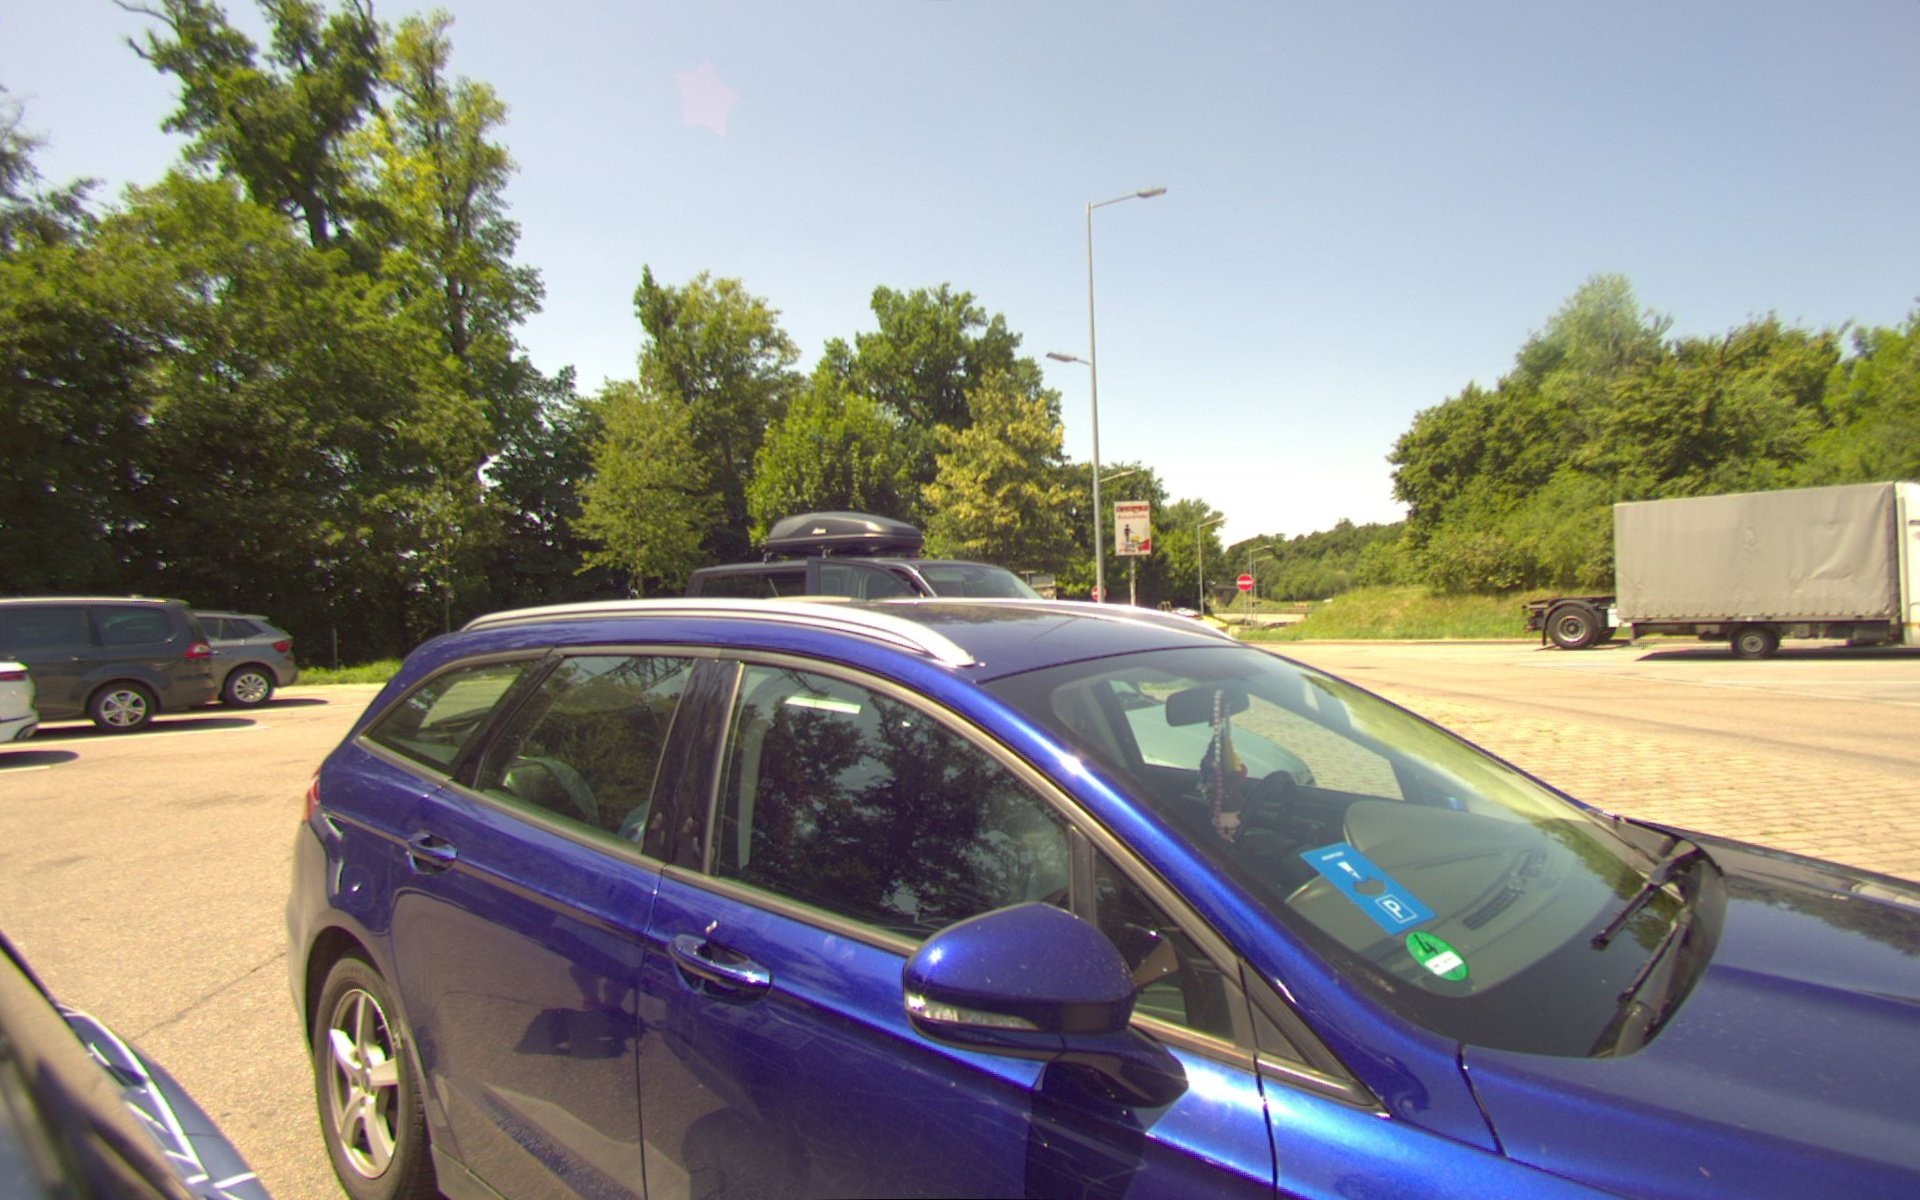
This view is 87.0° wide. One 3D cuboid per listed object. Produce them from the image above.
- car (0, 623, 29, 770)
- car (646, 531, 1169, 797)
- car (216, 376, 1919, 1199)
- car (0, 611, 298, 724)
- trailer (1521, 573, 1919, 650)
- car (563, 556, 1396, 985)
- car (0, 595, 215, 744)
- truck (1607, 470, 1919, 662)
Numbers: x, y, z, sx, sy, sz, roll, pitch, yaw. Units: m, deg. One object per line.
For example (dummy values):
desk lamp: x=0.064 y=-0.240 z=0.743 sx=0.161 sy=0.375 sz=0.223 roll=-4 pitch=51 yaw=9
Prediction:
car: x=-10.990 y=0.936 z=9.151 sx=3.767 sy=1.396 sz=1.722 roll=0 pitch=-1 yaw=-44
car: x=-0.653 y=0.511 z=9.352 sx=4.635 sy=1.884 sz=1.937 roll=-2 pitch=0 yaw=37
car: x=0.254 y=0.637 z=2.066 sx=4.637 sy=1.493 sz=1.720 roll=-2 pitch=-1 yaw=39
car: x=-12.588 y=0.959 z=15.695 sx=3.762 sy=1.551 sz=1.724 roll=0 pitch=-1 yaw=-38
trailer: x=17.641 y=0.305 z=23.149 sx=8.088 sy=1.385 sz=2.200 roll=-4 pitch=-1 yaw=41
car: x=-0.209 y=0.674 z=5.778 sx=4.637 sy=1.545 sz=1.720 roll=-2 pitch=0 yaw=39
car: x=-11.649 y=0.826 z=12.615 sx=3.762 sy=1.737 sz=1.724 roll=0 pitch=-1 yaw=-38
truck: x=16.713 y=-0.606 z=18.927 sx=7.337 sy=3.235 sz=2.502 roll=-4 pitch=-1 yaw=41
